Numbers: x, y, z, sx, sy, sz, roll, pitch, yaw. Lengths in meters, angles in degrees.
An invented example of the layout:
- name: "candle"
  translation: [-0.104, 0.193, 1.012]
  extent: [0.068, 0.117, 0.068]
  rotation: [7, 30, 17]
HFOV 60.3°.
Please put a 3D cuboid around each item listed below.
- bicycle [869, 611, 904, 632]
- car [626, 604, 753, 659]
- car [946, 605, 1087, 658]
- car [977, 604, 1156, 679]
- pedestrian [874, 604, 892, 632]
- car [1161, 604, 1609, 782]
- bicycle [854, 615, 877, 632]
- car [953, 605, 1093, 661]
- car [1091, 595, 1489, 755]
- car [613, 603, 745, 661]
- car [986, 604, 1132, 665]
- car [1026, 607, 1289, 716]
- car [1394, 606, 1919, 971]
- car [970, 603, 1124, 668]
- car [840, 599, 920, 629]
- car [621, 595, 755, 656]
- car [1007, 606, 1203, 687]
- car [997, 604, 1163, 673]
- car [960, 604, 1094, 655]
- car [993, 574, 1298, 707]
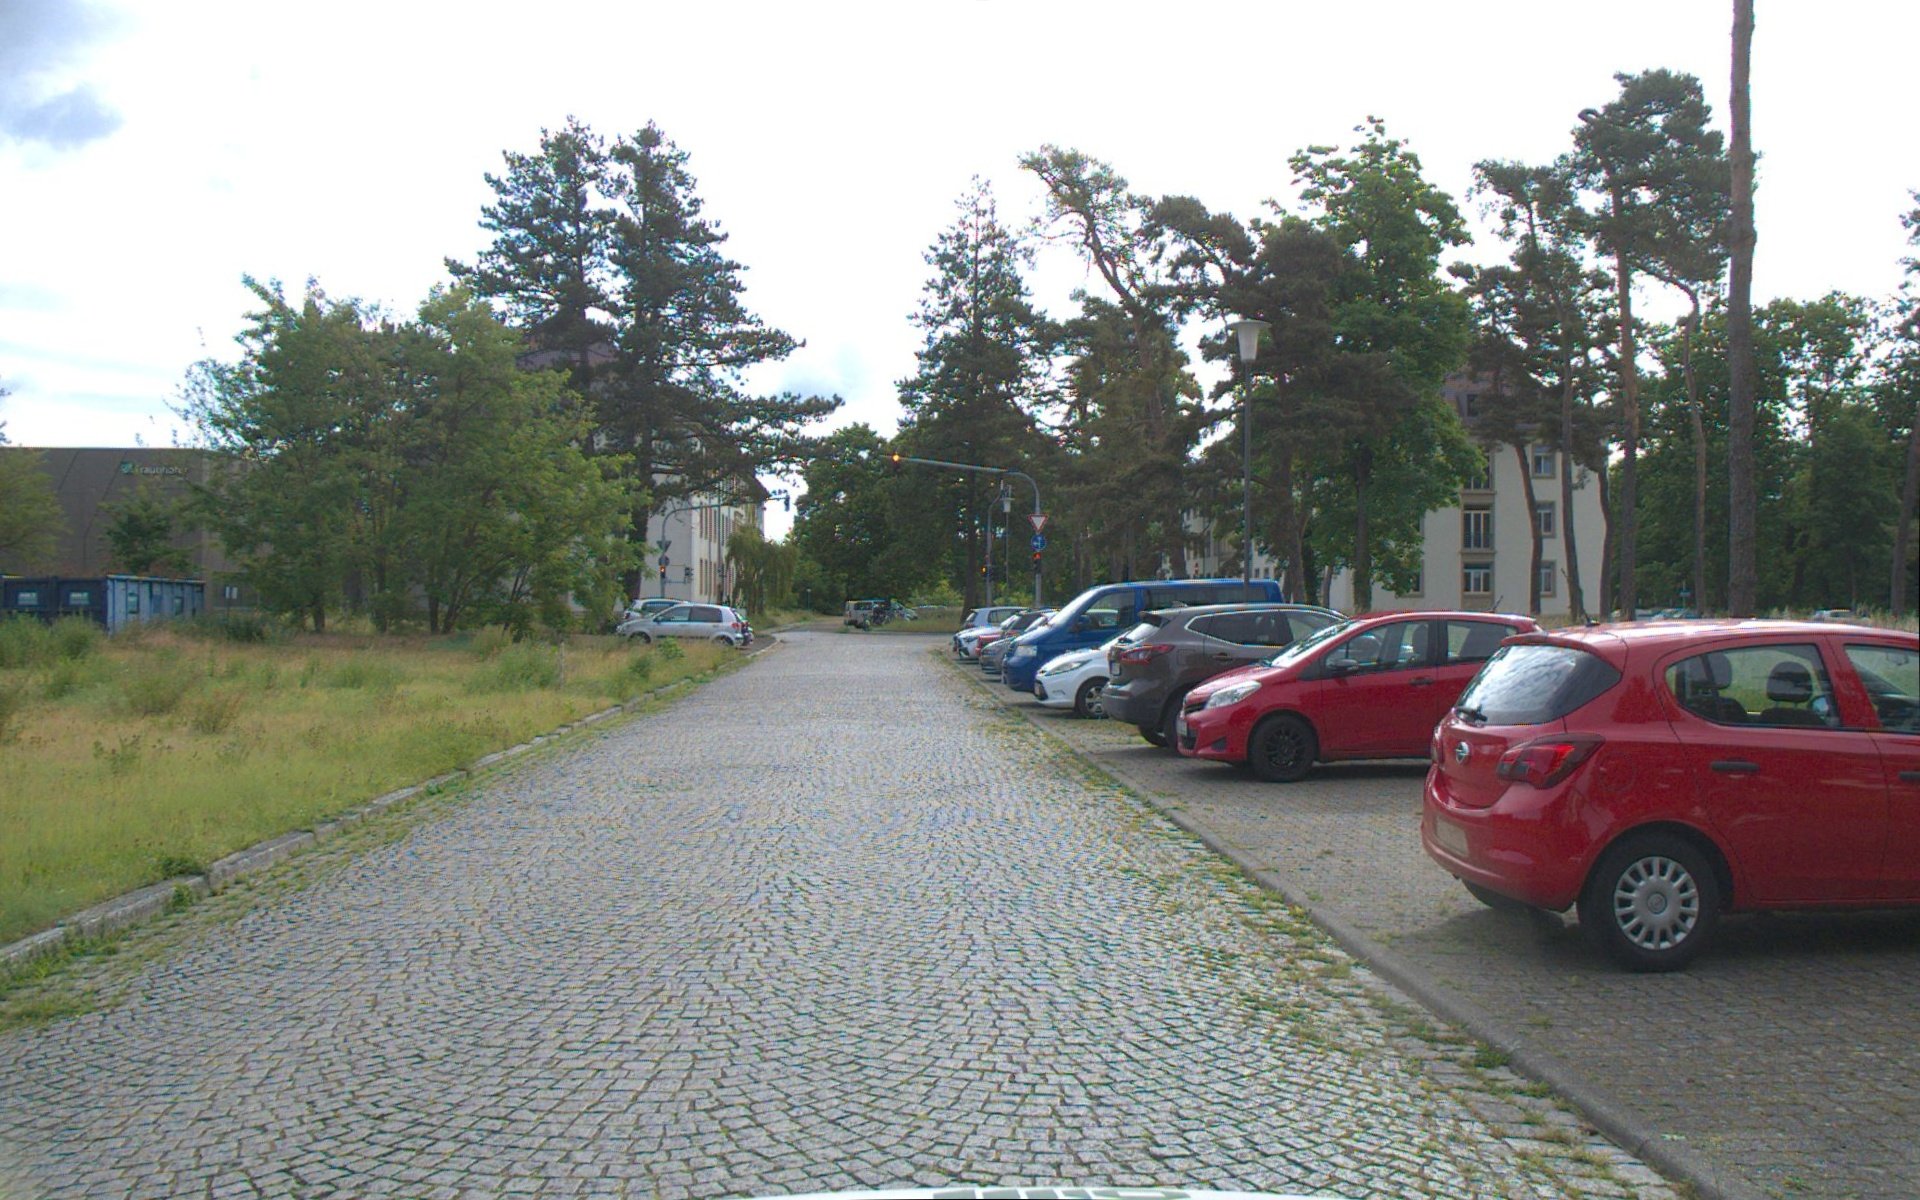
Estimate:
- name: "bicycle"
  translation: [-4.427, 1.310, 99.537]
  extent: [2.096, 1.236, 0.621]
  rotation: [1, -1, -8]
- name: "car"
  translation: [-8.414, 0.984, 51.641]
  extent: [3.746, 1.600, 1.563]
  rotation: [-1, -1, -4]
- name: "car"
  translation: [1.624, 0.911, 48.278]
  extent: [3.893, 1.446, 1.617]
  rotation: [-1, -1, -8]
- name: "car"
  translation: [2.234, 0.875, 35.212]
  extent: [3.600, 1.475, 1.522]
  rotation: [-1, -1, -5]
- name: "pedestrian"
  translation: [-4.641, 1.100, 99.869]
  extent: [1.014, 1.642, 0.756]
  rotation: [1, -1, -8]
- name: "car"
  translation: [3.910, 0.831, 15.614]
  extent: [3.717, 1.486, 1.750]
  rotation: [-1, -1, -4]
- name: "bicycle"
  translation: [-5.469, 1.369, 95.396]
  extent: [0.613, 0.961, 1.646]
  rotation: [1, -1, -31]
- name: "car"
  translation: [1.706, 0.892, 45.424]
  extent: [3.603, 1.446, 1.521]
  rotation: [-1, -1, -8]
- name: "car"
  translation: [3.559, 0.784, 18.247]
  extent: [3.951, 1.580, 1.749]
  rotation: [-1, -1, -6]
- name: "car"
  translation: [-8.315, 0.933, 49.228]
  extent: [3.749, 1.600, 1.562]
  rotation: [-1, -1, -7]
- name: "car"
  translation: [2.563, 0.883, 43.223]
  extent: [3.600, 1.475, 1.522]
  rotation: [-1, -1, -5]
- name: "car"
  translation: [2.893, 0.882, 24.589]
  extent: [3.601, 1.475, 1.612]
  rotation: [-1, -1, -6]
- name: "car"
  translation: [4.246, 0.793, 8.036]
  extent: [3.750, 1.486, 1.778]
  rotation: [-1, -1, -4]
- name: "car"
  translation: [2.119, 0.865, 40.907]
  extent: [3.600, 1.475, 1.522]
  rotation: [-1, -1, -5]
- name: "car"
  translation: [-5.690, 0.977, 117.394]
  extent: [5.351, 2.049, 2.261]
  rotation: [1, -1, -13]
- name: "car"
  translation: [-8.929, 0.834, 54.601]
  extent: [4.178, 1.873, 1.742]
  rotation: [-1, -1, -4]
- name: "car"
  translation: [2.809, 0.895, 32.466]
  extent: [3.600, 1.475, 1.522]
  rotation: [-1, -1, -5]
- name: "car"
  translation: [2.746, 0.875, 38.237]
  extent: [3.600, 1.475, 1.522]
  rotation: [-1, -1, -5]
- name: "car"
  translation: [2.028, 0.906, 50.958]
  extent: [3.893, 1.446, 1.617]
  rotation: [-1, -1, -8]
- name: "car"
  translation: [2.981, 0.639, 27.193]
  extent: [4.662, 1.989, 1.929]
  rotation: [-1, -1, -6]
